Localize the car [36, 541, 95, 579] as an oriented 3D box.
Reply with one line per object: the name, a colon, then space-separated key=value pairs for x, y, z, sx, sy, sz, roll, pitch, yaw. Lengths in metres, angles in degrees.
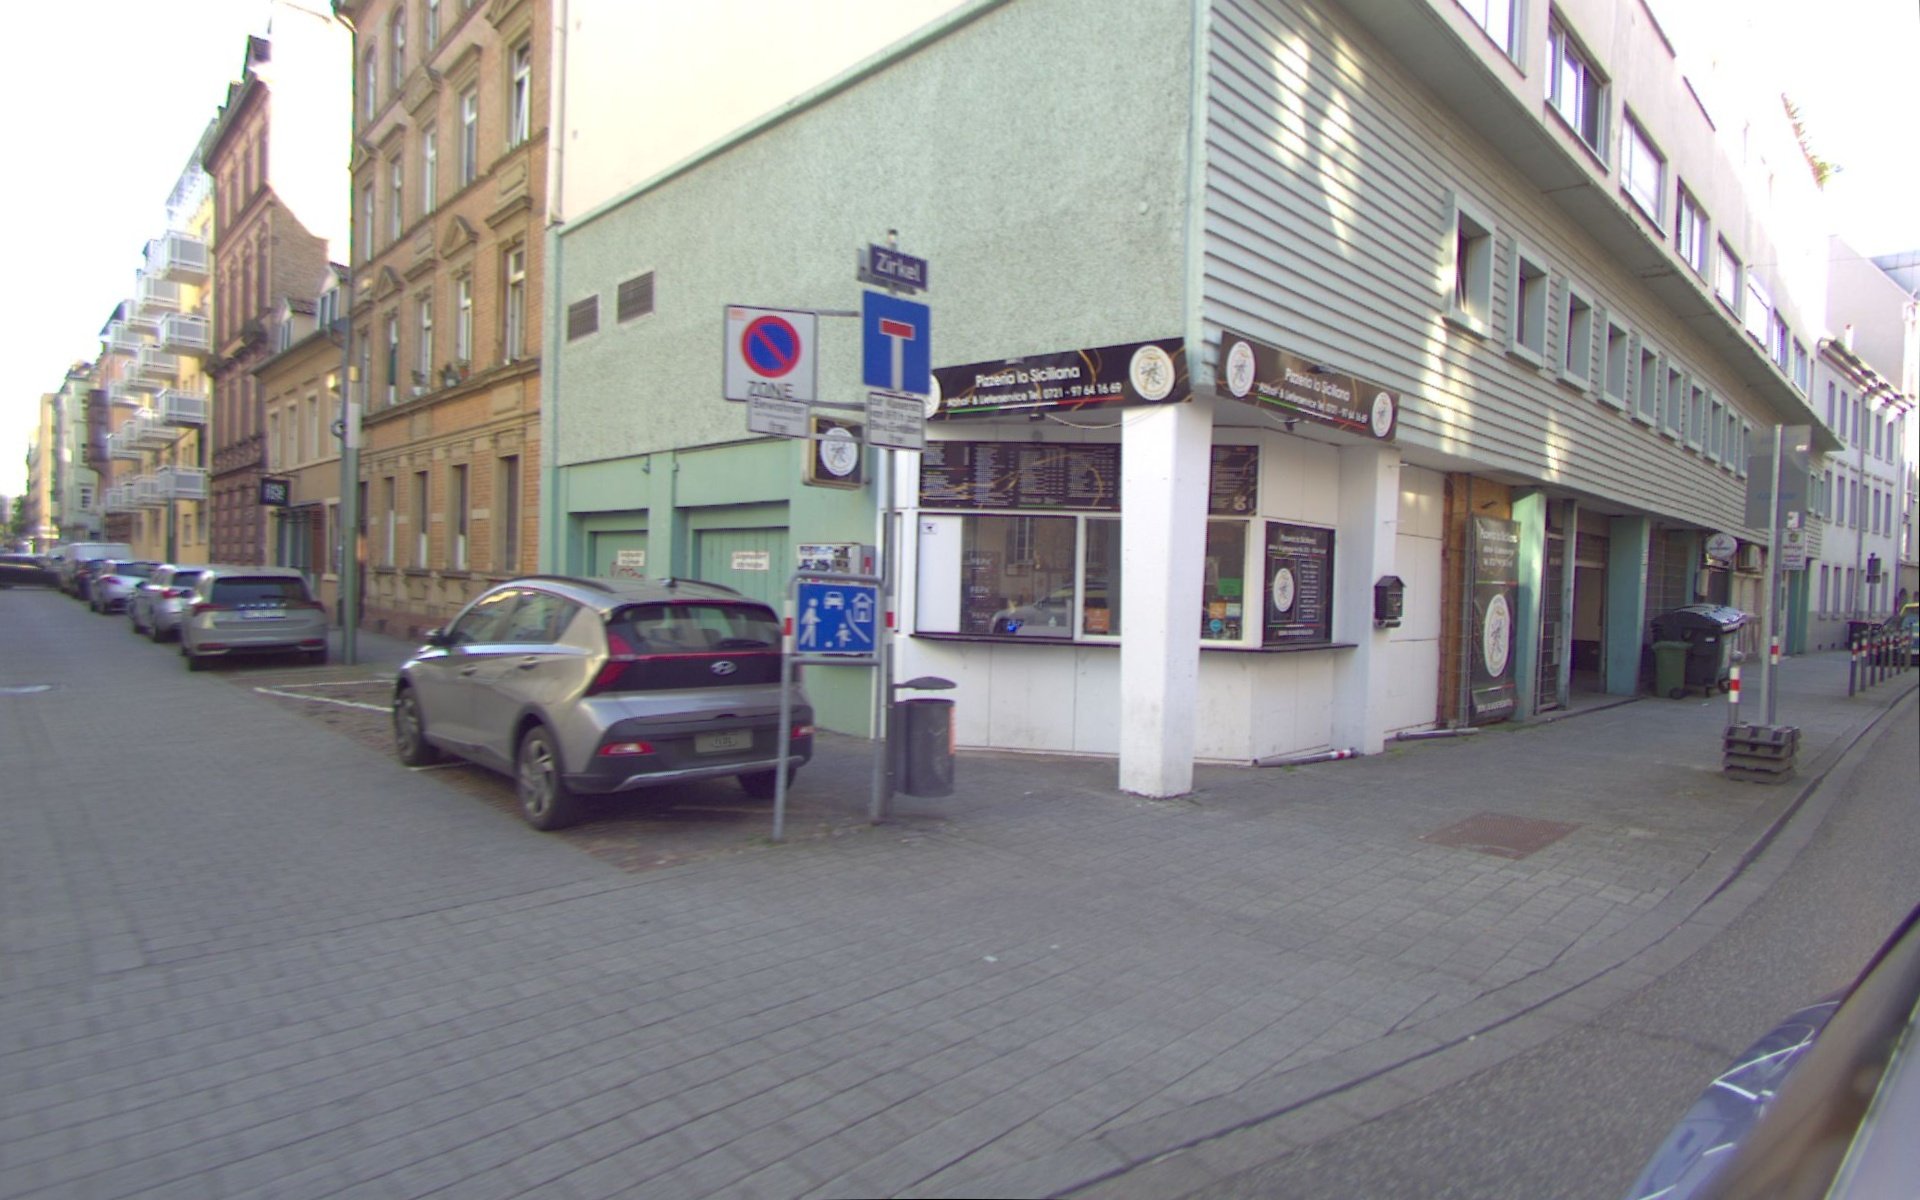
car: x=-45.353 y=-2.053 z=51.296 sx=2.124 sy=1.816 sz=4.648 roll=-2 pitch=4 yaw=-43

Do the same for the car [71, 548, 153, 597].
car: x=-29.564 y=-0.996 z=35.260 sx=1.990 sy=1.565 sz=3.939 roll=-2 pitch=4 yaw=-43

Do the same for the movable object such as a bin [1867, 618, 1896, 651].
movable object such as a bin: x=32.882 y=1.228 z=36.097 sx=0.697 sy=1.063 sz=0.627 roll=0 pitch=6 yaw=-45

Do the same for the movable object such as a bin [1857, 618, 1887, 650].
movable object such as a bin: x=32.184 y=1.194 z=35.713 sx=0.696 sy=1.063 sz=0.608 roll=1 pitch=6 yaw=-41

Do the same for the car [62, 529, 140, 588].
car: x=-33.520 y=-1.563 z=39.437 sx=2.124 sy=2.166 sz=4.647 roll=-2 pitch=1 yaw=-43

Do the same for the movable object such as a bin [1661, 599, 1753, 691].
movable object such as a bin: x=12.789 y=0.730 z=17.319 sx=1.299 sy=1.401 sz=0.983 roll=-2 pitch=5 yaw=-43

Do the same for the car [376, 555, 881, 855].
car: x=-2.596 y=0.475 z=7.299 sx=1.835 sy=1.500 sz=4.082 roll=0 pitch=2 yaw=-45

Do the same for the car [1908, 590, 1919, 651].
car: x=32.567 y=0.696 z=33.011 sx=4.760 sy=1.905 sz=1.887 roll=1 pitch=0 yaw=-41

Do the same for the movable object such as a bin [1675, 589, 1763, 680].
movable object such as a bin: x=13.883 y=0.601 z=18.506 sx=1.526 sy=1.497 sz=0.983 roll=-2 pitch=5 yaw=-43

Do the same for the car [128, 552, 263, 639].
car: x=-15.148 y=-0.159 z=19.987 sx=1.753 sy=1.500 sz=3.960 roll=-1 pitch=3 yaw=-43

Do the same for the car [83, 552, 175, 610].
car: x=-23.219 y=-0.559 z=28.224 sx=1.753 sy=1.500 sz=3.959 roll=-2 pitch=2 yaw=-43

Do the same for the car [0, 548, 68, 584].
car: x=-39.802 y=-1.421 z=42.058 sx=3.701 sy=1.476 sz=1.779 roll=0 pitch=3 yaw=-20

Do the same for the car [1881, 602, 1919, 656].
car: x=28.365 y=0.845 z=29.501 sx=4.294 sy=1.508 sz=1.886 roll=1 pitch=1 yaw=-43

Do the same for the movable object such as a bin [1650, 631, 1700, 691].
movable object such as a bin: x=11.921 y=1.001 z=16.877 sx=0.514 sy=0.910 sz=0.557 roll=-2 pitch=5 yaw=-43

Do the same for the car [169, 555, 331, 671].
car: x=-11.114 y=0.089 z=15.720 sx=1.645 sy=1.500 sz=4.177 roll=-1 pitch=3 yaw=-41

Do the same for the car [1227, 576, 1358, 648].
car: x=7.829 y=0.262 z=23.690 sx=1.583 sy=1.487 sz=3.344 roll=4 pitch=2 yaw=44
